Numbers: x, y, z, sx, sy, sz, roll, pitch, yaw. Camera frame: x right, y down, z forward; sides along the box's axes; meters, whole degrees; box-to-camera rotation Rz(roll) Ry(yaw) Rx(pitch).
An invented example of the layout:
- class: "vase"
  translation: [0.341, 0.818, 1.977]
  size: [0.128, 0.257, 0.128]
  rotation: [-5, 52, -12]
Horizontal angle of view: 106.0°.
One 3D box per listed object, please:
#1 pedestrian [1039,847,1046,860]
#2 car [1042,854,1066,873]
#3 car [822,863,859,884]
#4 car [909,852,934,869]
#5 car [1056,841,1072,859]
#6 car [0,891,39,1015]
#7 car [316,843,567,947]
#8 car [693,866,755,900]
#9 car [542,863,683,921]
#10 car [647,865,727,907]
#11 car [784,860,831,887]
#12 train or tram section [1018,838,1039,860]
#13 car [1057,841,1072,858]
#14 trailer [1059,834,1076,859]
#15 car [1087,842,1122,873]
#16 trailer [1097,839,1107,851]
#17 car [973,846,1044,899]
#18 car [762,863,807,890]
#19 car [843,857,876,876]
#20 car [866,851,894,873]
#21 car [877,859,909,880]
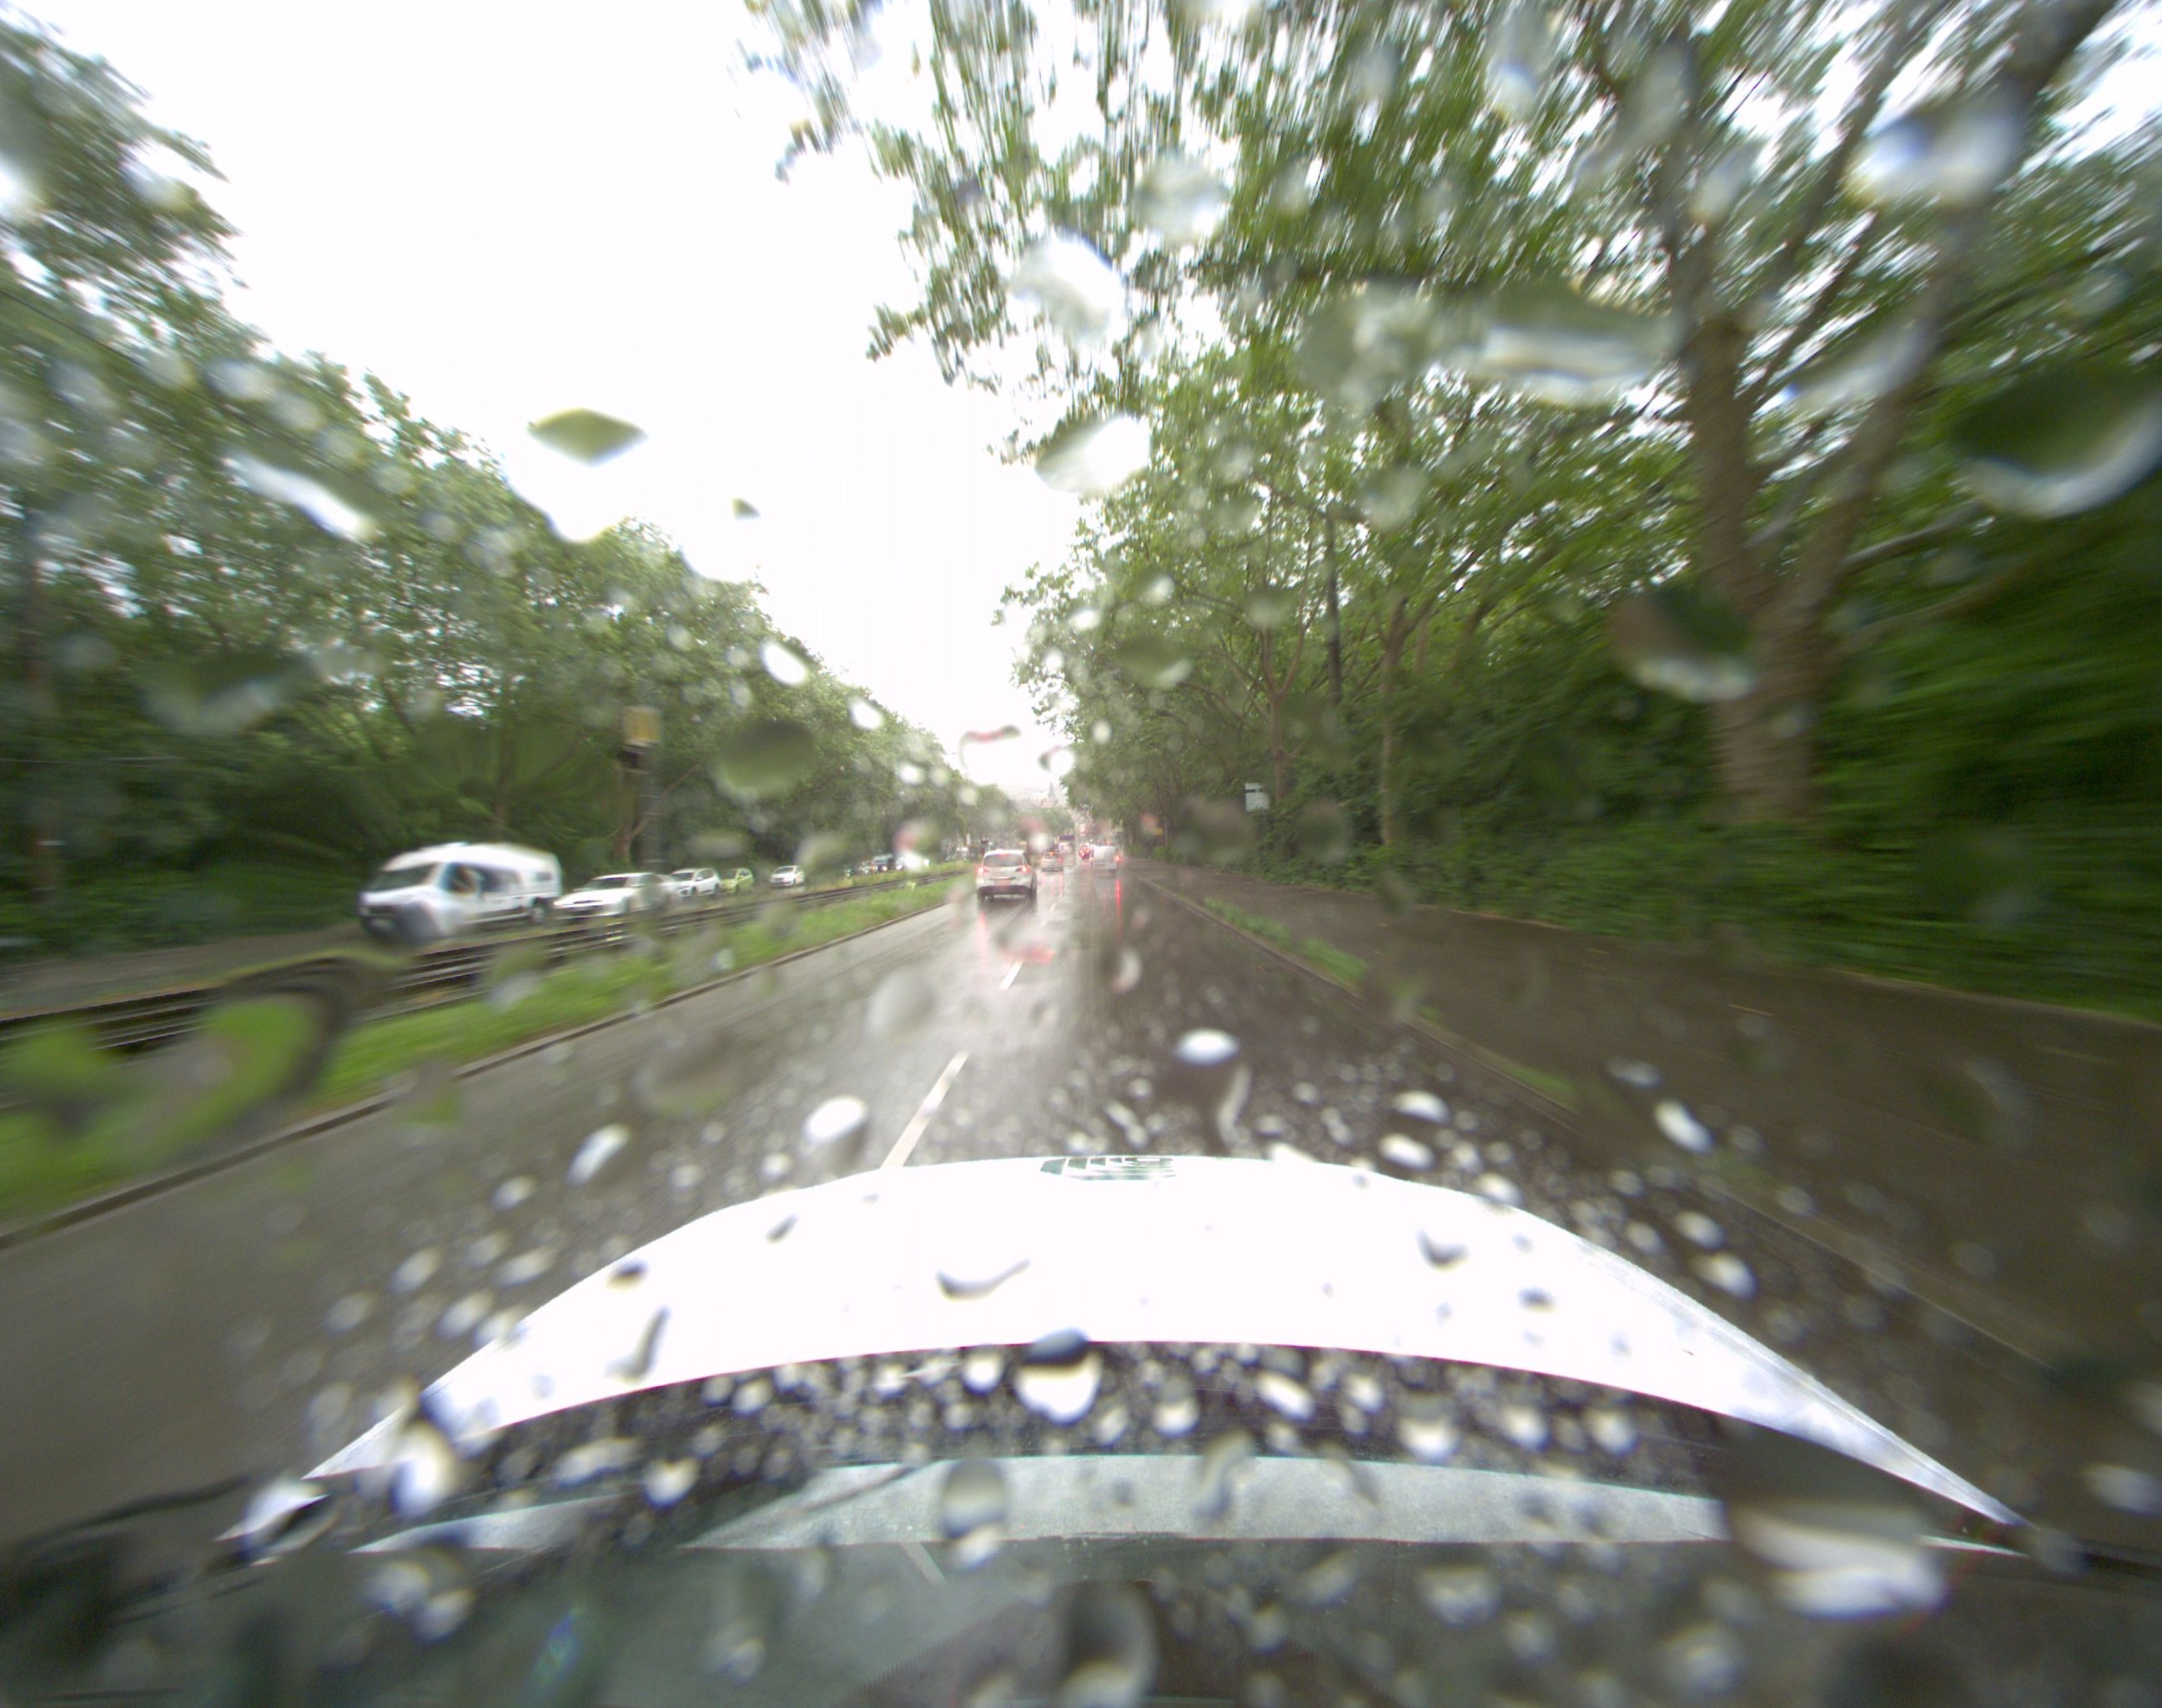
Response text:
- class: "pedestrian"
  translation: [-5.070, -0.031, 107.385]
  size: [0.788, 1.714, 0.770]
  rotation: [0, -1, -2]
- class: "car"
  translation: [-2.120, 0.755, 64.614]
  size: [1.720, 1.479, 3.804]
  rotation: [-1, -1, -1]
- class: "car"
  translation: [-20.576, 1.618, 69.826]
  size: [2.028, 1.657, 4.603]
  rotation: [-2, 0, -4]
- class: "car"
  translation: [-18.299, 0.734, 93.560]
  size: [2.027, 1.751, 4.689]
  rotation: [-3, 0, -3]
- class: "car"
  translation: [-2.561, -0.542, 124.680]
  size: [2.322, 2.557, 6.112]
  rotation: [-1, -1, 0]
- class: "car"
  translation: [-14.693, 1.320, 8.370]
  size: [2.027, 1.552, 4.564]
  rotation: [-3, 0, -1]
- class: "car"
  translation: [-18.587, 1.068, 24.314]
  size: [2.384, 2.540, 6.560]
  rotation: [-3, 0, -3]
- class: "car"
  translation: [-19.718, 1.550, 45.143]
  size: [1.757, 1.648, 3.809]
  rotation: [-3, 0, -3]
- class: "car"
  translation: [-15.330, 1.173, 27.033]
  size: [1.973, 1.566, 4.764]
  rotation: [-3, 0, -2]
- class: "car"
  translation: [-18.994, 1.488, 39.512]
  size: [1.746, 1.728, 4.527]
  rotation: [-3, 0, -3]
- class: "car"
  translation: [-20.541, 1.425, 61.366]
  size: [2.027, 1.751, 4.689]
  rotation: [-3, 0, -3]
- class: "train or tram section"
  translation: [-8.543, -0.935, 132.660]
  size: [2.953, 3.285, 8.356]
  rotation: [-3, 1, -1]
- class: "car"
  translation: [-2.271, -0.585, 115.893]
  size: [1.987, 2.262, 5.287]
  rotation: [-1, -1, 0]
- class: "trailer"
  translation: [-2.218, -1.262, 134.151]
  size: [2.583, 3.899, 7.631]
  rotation: [-1, 0, -2]
- class: "car"
  translation: [1.374, 0.217, 48.856]
  size: [1.953, 1.777, 3.568]
  rotation: [-1, -1, -1]
- class: "trailer"
  translation: [4.405, -1.825, 172.099]
  size: [1.987, 2.317, 4.667]
  rotation: [-1, -1, -1]
- class: "car"
  translation: [-2.374, 0.589, 27.720]
  size: [1.857, 1.623, 4.264]
  rotation: [-1, 0, 2]
- class: "car"
  translation: [-20.454, 1.512, 56.378]
  size: [1.757, 1.648, 3.809]
  rotation: [-3, 0, -3]
- class: "car"
  translation: [-20.778, 1.138, 76.493]
  size: [2.027, 1.657, 4.605]
  rotation: [-1, 0, -3]
- class: "car"
  translation: [-21.483, 0.843, 87.218]
  size: [2.028, 2.092, 4.796]
  rotation: [-3, 0, -4]
- class: "car"
  translation: [-17.069, 1.367, 74.211]
  size: [2.027, 1.751, 4.255]
  rotation: [-3, 0, -3]
